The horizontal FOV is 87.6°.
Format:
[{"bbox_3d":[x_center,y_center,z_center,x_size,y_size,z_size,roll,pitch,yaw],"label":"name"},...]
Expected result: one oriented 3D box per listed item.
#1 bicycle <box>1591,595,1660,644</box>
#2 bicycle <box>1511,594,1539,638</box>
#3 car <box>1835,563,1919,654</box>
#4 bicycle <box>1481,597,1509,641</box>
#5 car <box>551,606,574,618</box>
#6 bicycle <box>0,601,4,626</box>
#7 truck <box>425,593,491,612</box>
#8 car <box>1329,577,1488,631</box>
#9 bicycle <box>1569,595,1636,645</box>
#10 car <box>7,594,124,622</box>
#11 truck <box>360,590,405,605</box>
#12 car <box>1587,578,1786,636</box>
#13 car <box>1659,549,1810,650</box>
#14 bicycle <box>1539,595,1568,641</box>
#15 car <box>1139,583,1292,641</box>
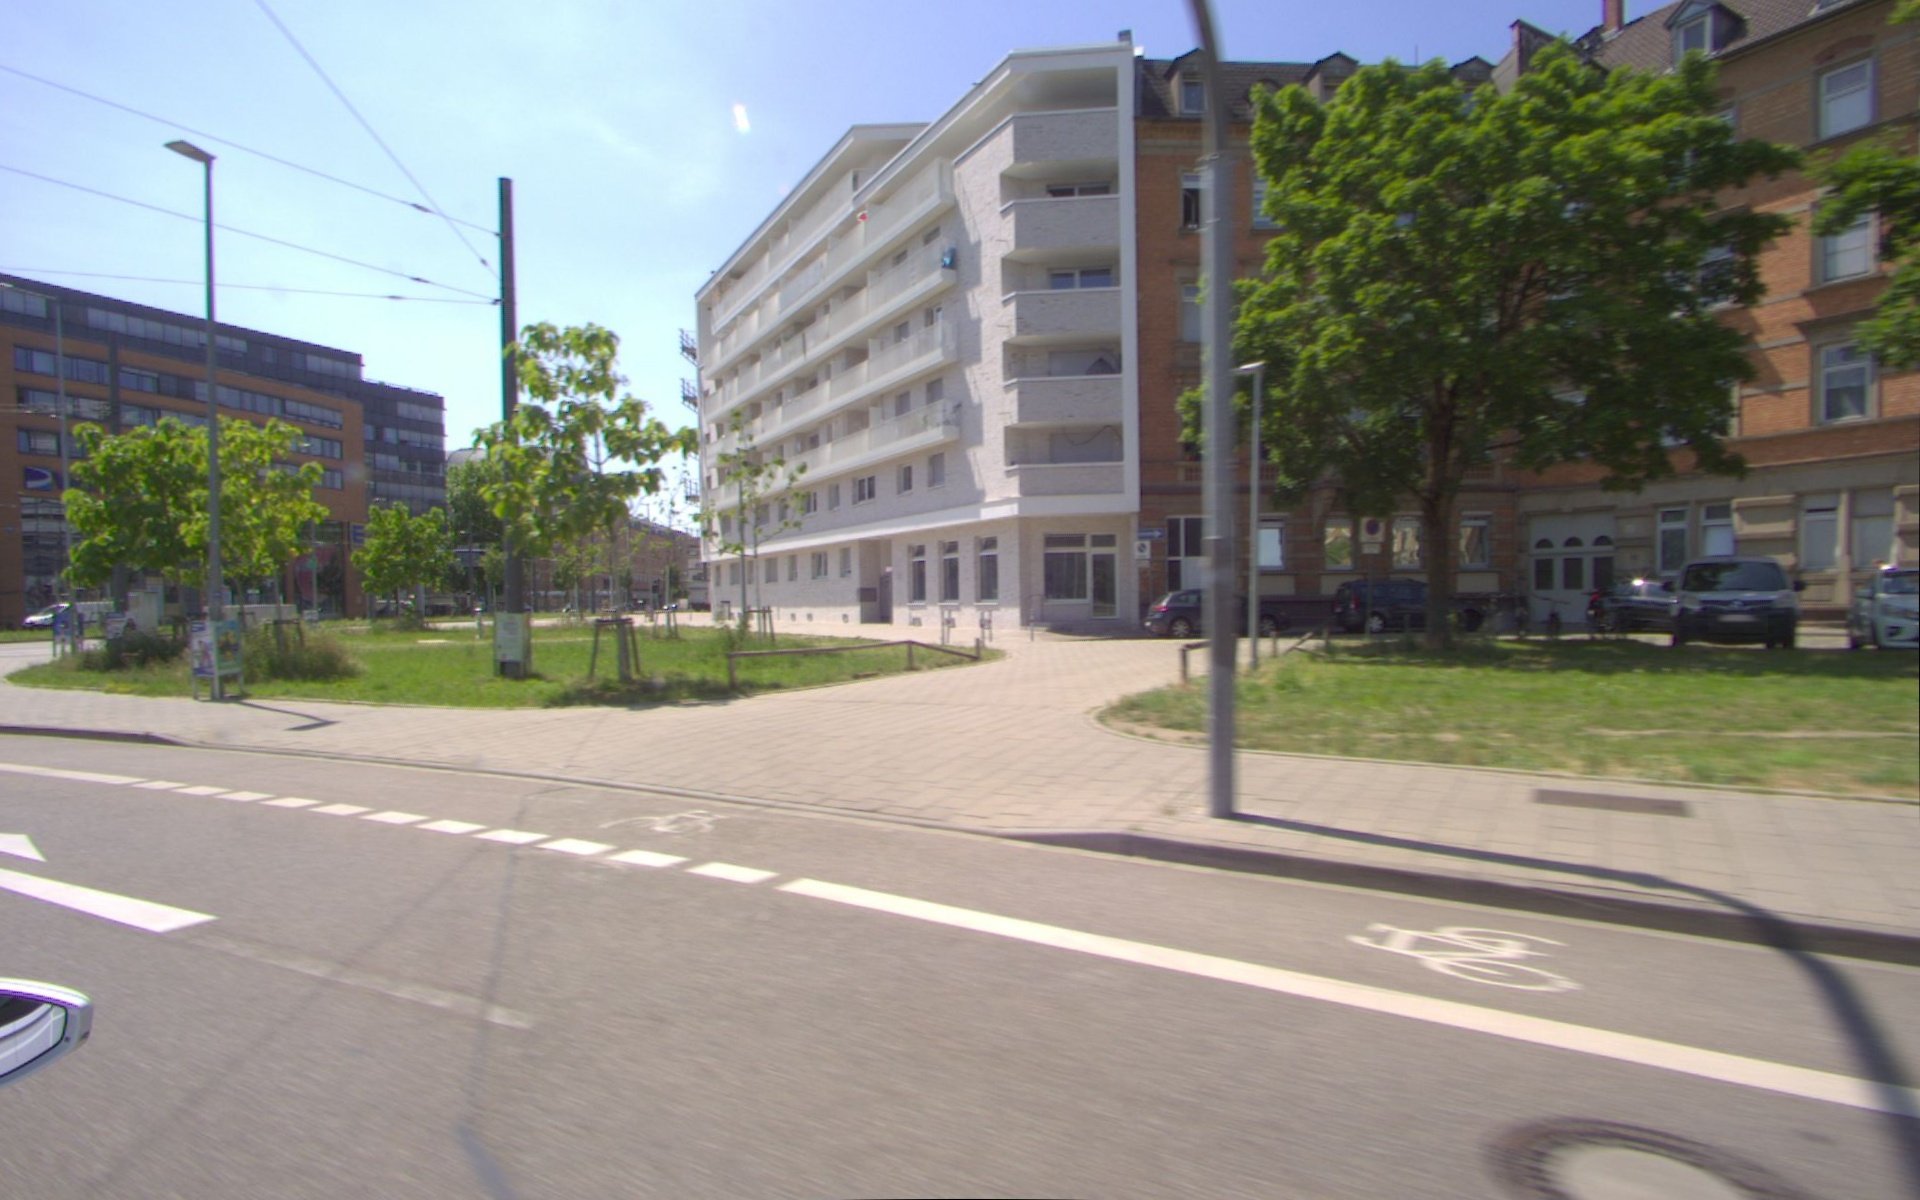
[{"bbox_3d":[13.729,0.379,20.719,0.499,0.948,2.423,0,0,17],"label":"bicycle"},{"bbox_3d":[12.588,0.353,22.322,0.500,0.948,2.041,1,0,29],"label":"bicycle"},{"bbox_3d":[15.767,0.149,16.298,1.734,1.349,3.978,0,0,33],"label":"car"},{"bbox_3d":[12.038,0.414,22.520,0.500,0.948,2.041,1,0,29],"label":"bicycle"},{"bbox_3d":[-52.172,1.606,131.472,1.651,1.550,3.999,0,0,-6],"label":"car"},{"bbox_3d":[-70.302,0.964,72.767,2.222,1.820,0.485,0,0,25],"label":"bicycle"},{"bbox_3d":[-75.918,0.366,151.506,9.060,2.846,2.000,0,0,2],"label":"truck"},{"bbox_3d":[13.467,0.135,30.239,4.002,1.550,1.777,0,0,-1],"label":"car"},{"bbox_3d":[13.006,0.389,20.327,0.499,0.947,2.424,0,0,17],"label":"bicycle"},{"bbox_3d":[-58.314,0.531,65.447,1.964,1.690,5.473,0,0,17],"label":"car"},{"bbox_3d":[-82.475,-0.359,143.124,5.275,2.040,1.882,0,0,-2],"label":"truck"},{"bbox_3d":[19.393,0.185,26.902,1.752,1.439,3.978,1,0,-31],"label":"car"},{"bbox_3d":[14.248,0.019,18.672,1.810,1.622,4.848,0,0,33],"label":"car"},{"bbox_3d":[12.964,0.391,21.895,0.500,0.948,2.041,1,0,29],"label":"bicycle"},{"bbox_3d":[7.421,0.349,29.380,4.050,1.646,1.695,0,0,0],"label":"car"}]
